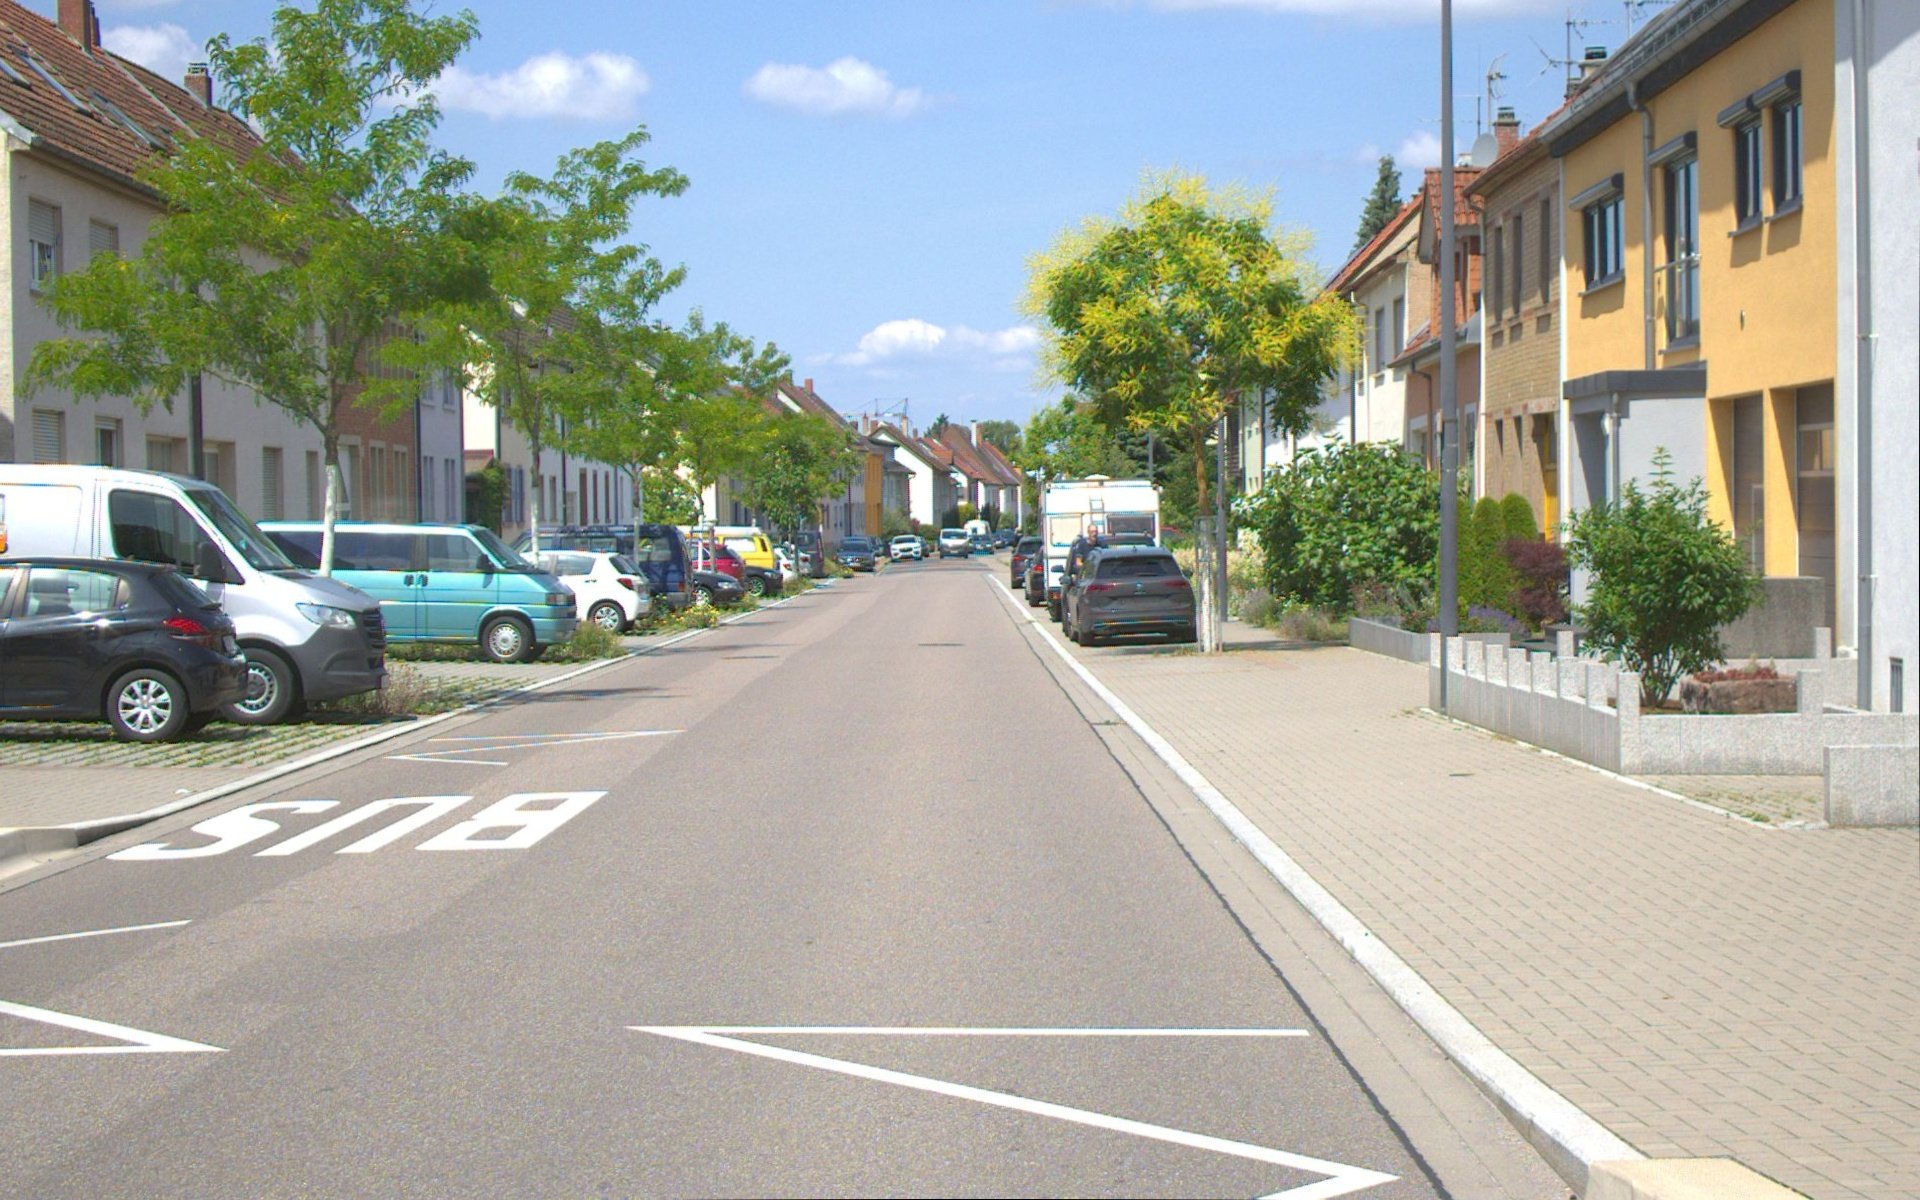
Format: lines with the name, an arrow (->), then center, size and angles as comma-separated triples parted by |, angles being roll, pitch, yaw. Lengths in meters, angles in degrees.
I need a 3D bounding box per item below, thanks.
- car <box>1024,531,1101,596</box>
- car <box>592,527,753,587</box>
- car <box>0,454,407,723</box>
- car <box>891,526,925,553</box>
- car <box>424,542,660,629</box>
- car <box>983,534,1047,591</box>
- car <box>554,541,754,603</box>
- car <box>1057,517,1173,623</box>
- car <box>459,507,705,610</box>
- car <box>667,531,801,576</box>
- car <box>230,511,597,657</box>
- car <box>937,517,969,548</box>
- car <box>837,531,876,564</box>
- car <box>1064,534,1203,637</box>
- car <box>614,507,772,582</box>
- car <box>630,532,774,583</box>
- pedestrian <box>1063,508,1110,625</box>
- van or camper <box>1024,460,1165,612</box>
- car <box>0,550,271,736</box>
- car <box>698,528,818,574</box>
car -> 2.442, -0.894, 82.809 | 1.767, 1.524, 4.007 | 0, 1, 1
car -> -7.822, -1.178, 93.762 | 4.253, 1.606, 1.843 | 0, 1, 0
car -> -7.699, -0.131, 30.765 | 5.166, 2.280, 2.157 | 1, 1, -2
car -> -3.273, -3.818, 217.764 | 1.850, 1.653, 4.000 | 1, 1, 3
car -> -7.391, -0.271, 60.996 | 3.916, 1.483, 1.772 | 0, 1, 2
car -> 1.781, -1.224, 110.003 | 1.864, 1.630, 4.446 | -3, 2, 3
car -> -7.142, -0.666, 80.650 | 4.524, 1.420, 1.796 | 0, 1, 0
car -> 2.560, -0.525, 57.445 | 1.767, 1.699, 4.325 | 0, 1, 1
car -> -7.461, -0.829, 68.209 | 4.613, 1.989, 1.953 | 0, 1, 2
car -> -7.488, -1.542, 114.214 | 4.295, 1.463, 1.774 | 0, 0, 2
car -> -7.442, -0.223, 47.120 | 4.677, 1.900, 2.000 | 1, 0, 1
car -> -0.465, -4.369, 224.646 | 2.022, 1.943, 4.899 | -1, 1, -1
car -> -5.092, -2.585, 168.883 | 1.816, 1.428, 4.140 | 3, 2, -2
car -> 2.577, -0.249, 51.920 | 1.766, 1.483, 4.297 | -1, 1, -1
car -> -7.866, -1.643, 101.707 | 4.508, 2.170, 1.925 | 0, 1, 0
car -> -7.422, -1.233, 99.224 | 4.010, 1.454, 1.755 | 0, 1, 0
pedestrian -> 2.012, -0.536, 54.807 | 0.716, 1.846, 0.578 | 0, 1, 1
van or camper -> 2.596, -1.283, 68.007 | 2.473, 2.800, 5.791 | -2, 1, 0
car -> -7.751, 0.328, 27.865 | 3.986, 1.441, 1.902 | 0, 1, -2
car -> -7.119, -1.721, 121.088 | 4.182, 1.563, 1.774 | 1, 0, -3
